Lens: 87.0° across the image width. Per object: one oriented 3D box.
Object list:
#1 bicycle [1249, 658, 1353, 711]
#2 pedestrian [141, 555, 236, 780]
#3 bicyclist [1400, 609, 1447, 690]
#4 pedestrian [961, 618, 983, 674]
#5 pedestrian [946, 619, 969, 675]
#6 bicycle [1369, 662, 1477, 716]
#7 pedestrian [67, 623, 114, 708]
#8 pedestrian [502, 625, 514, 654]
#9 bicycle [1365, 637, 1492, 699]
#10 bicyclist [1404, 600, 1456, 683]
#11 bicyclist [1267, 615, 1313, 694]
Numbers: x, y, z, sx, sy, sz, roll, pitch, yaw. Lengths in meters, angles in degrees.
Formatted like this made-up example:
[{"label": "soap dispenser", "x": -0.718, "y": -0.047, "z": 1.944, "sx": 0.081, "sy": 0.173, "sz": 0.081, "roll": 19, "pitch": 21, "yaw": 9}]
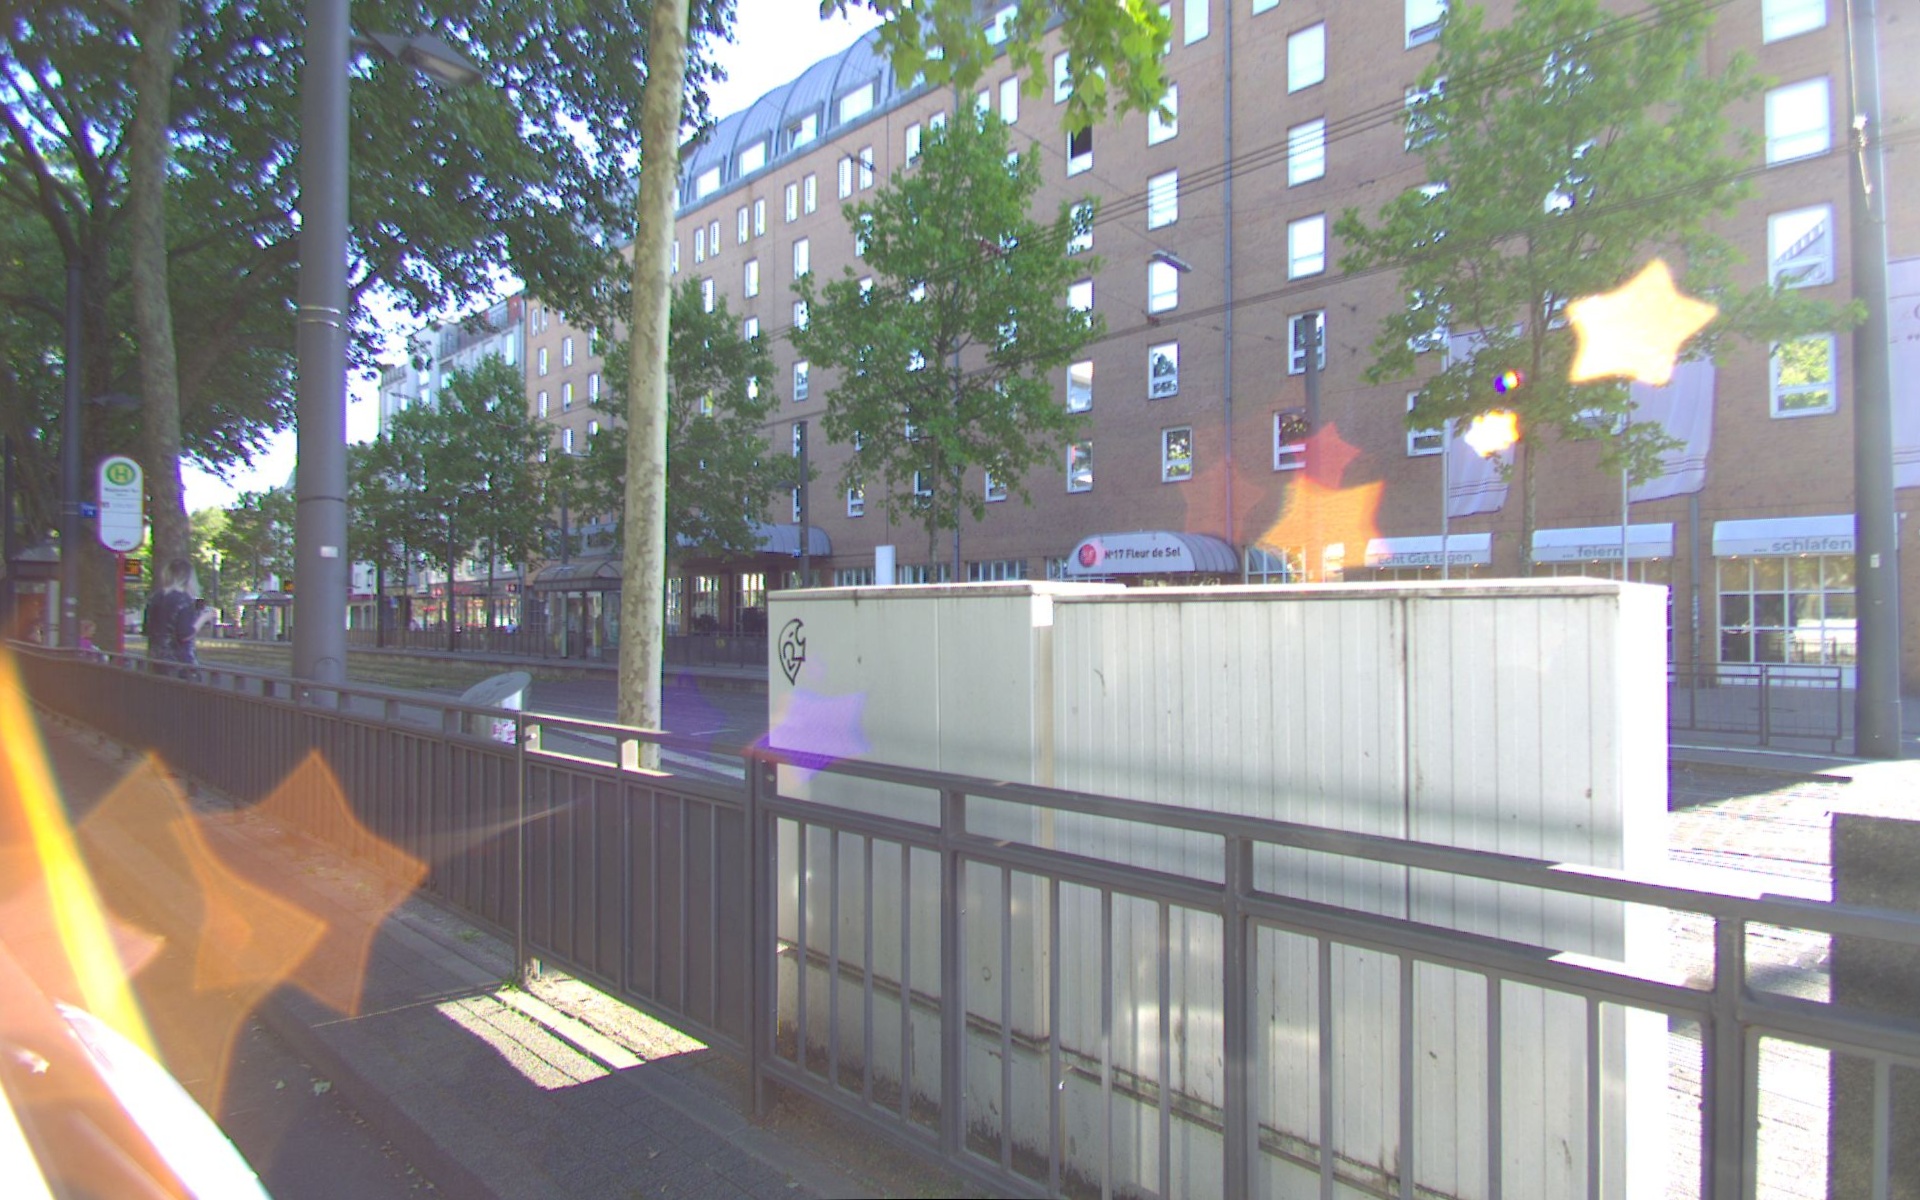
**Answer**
[{"label": "bicycle", "x": 6.969, "y": 1.711, "z": 20.724, "sx": 1.897, "sy": 1.006, "sz": 0.688, "roll": -1, "pitch": -2, "yaw": 34}, {"label": "pedestrian", "x": -6.629, "y": 0.554, "z": 8.695, "sx": 0.524, "sy": 1.848, "sz": 0.536, "roll": -1, "pitch": 0, "yaw": 40}, {"label": "bicyclist", "x": 9.345, "y": 0.982, "z": 20.406, "sx": 0.756, "sy": 1.586, "sz": 0.655, "roll": -1, "pitch": -2, "yaw": 34}, {"label": "pedestrian", "x": 0.369, "y": 1.446, "z": 32.013, "sx": 0.437, "sy": 1.748, "sz": 0.545, "roll": 1, "pitch": -2, "yaw": -42}, {"label": "pedestrian", "x": -0.089, "y": 1.459, "z": 31.638, "sx": 0.472, "sy": 1.748, "sz": 0.545, "roll": 1, "pitch": -2, "yaw": -42}, {"label": "bicycle", "x": 9.316, "y": 1.775, "z": 20.405, "sx": 1.897, "sy": 1.006, "sz": 0.647, "roll": -1, "pitch": -2, "yaw": 34}, {"label": "pedestrian", "x": -14.002, "y": 1.037, "z": 16.311, "sx": 0.534, "sy": 1.327, "sz": 0.525, "roll": -1, "pitch": 0, "yaw": -37}, {"label": "pedestrian", "x": -27.452, "y": 2.408, "z": 61.451, "sx": 0.574, "sy": 1.748, "sz": 0.497, "roll": -2, "pitch": -2, "yaw": 43}, {"label": "bicycle", "x": 9.022, "y": 1.318, "z": 19.532, "sx": 2.105, "sy": 1.151, "sz": 0.679, "roll": -4, "pitch": -4, "yaw": 34}, {"label": "bicyclist", "x": 9.070, "y": 0.805, "z": 19.523, "sx": 0.756, "sy": 1.572, "sz": 0.676, "roll": -4, "pitch": -4, "yaw": 33}, {"label": "bicyclist", "x": 6.806, "y": 1.106, "z": 20.872, "sx": 0.756, "sy": 1.581, "sz": 0.655, "roll": -1, "pitch": -2, "yaw": 34}]
